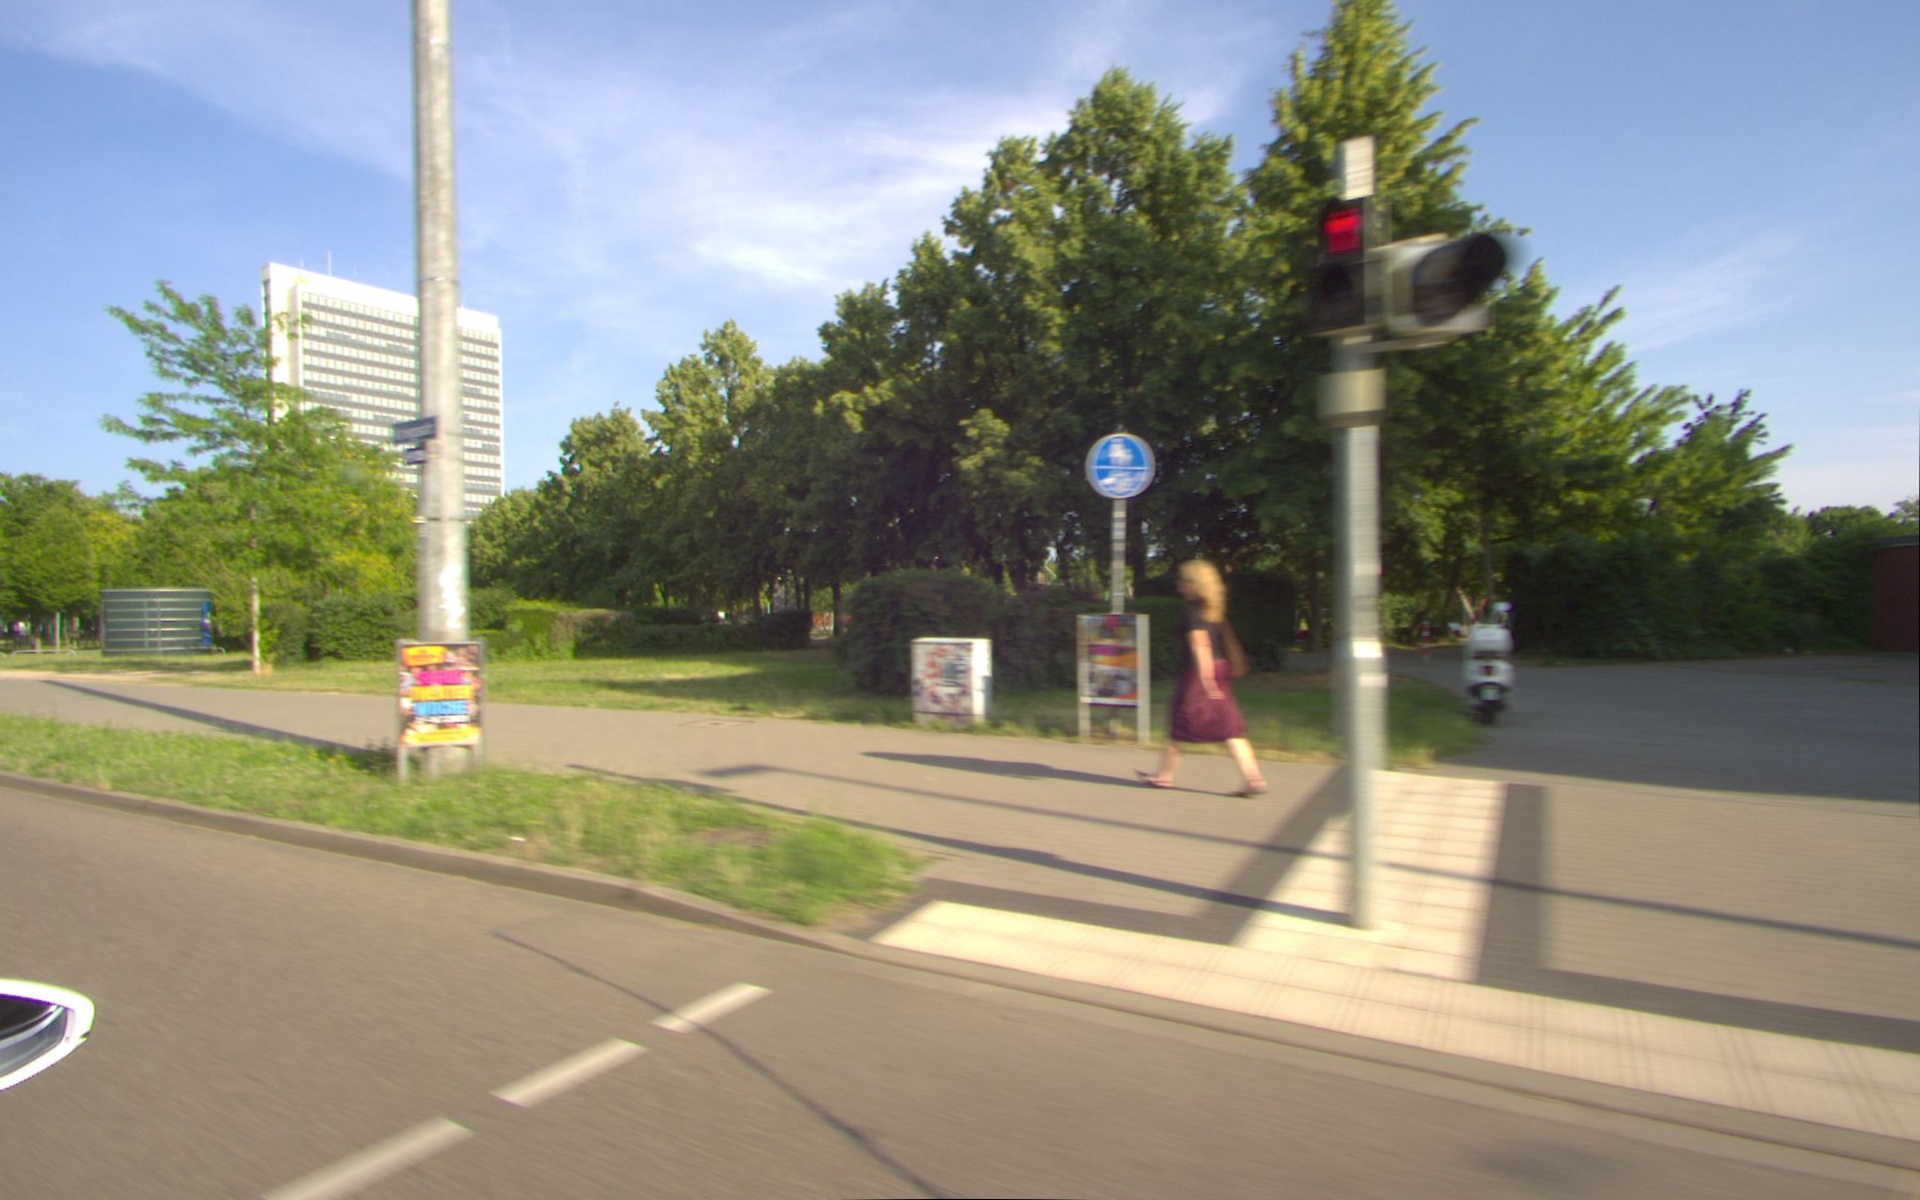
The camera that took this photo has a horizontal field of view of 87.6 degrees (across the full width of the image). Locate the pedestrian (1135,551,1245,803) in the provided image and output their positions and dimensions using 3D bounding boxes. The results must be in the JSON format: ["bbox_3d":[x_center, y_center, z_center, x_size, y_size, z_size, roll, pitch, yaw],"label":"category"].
[{"bbox_3d":[1.674,0.525,7.246,0.541,1.716,0.612,0,5,35],"label":"pedestrian"}]

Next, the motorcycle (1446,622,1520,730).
[{"bbox_3d":[6.181,0.852,11.909,0.696,1.174,1.996,0,-1,26],"label":"motorcycle"}]
